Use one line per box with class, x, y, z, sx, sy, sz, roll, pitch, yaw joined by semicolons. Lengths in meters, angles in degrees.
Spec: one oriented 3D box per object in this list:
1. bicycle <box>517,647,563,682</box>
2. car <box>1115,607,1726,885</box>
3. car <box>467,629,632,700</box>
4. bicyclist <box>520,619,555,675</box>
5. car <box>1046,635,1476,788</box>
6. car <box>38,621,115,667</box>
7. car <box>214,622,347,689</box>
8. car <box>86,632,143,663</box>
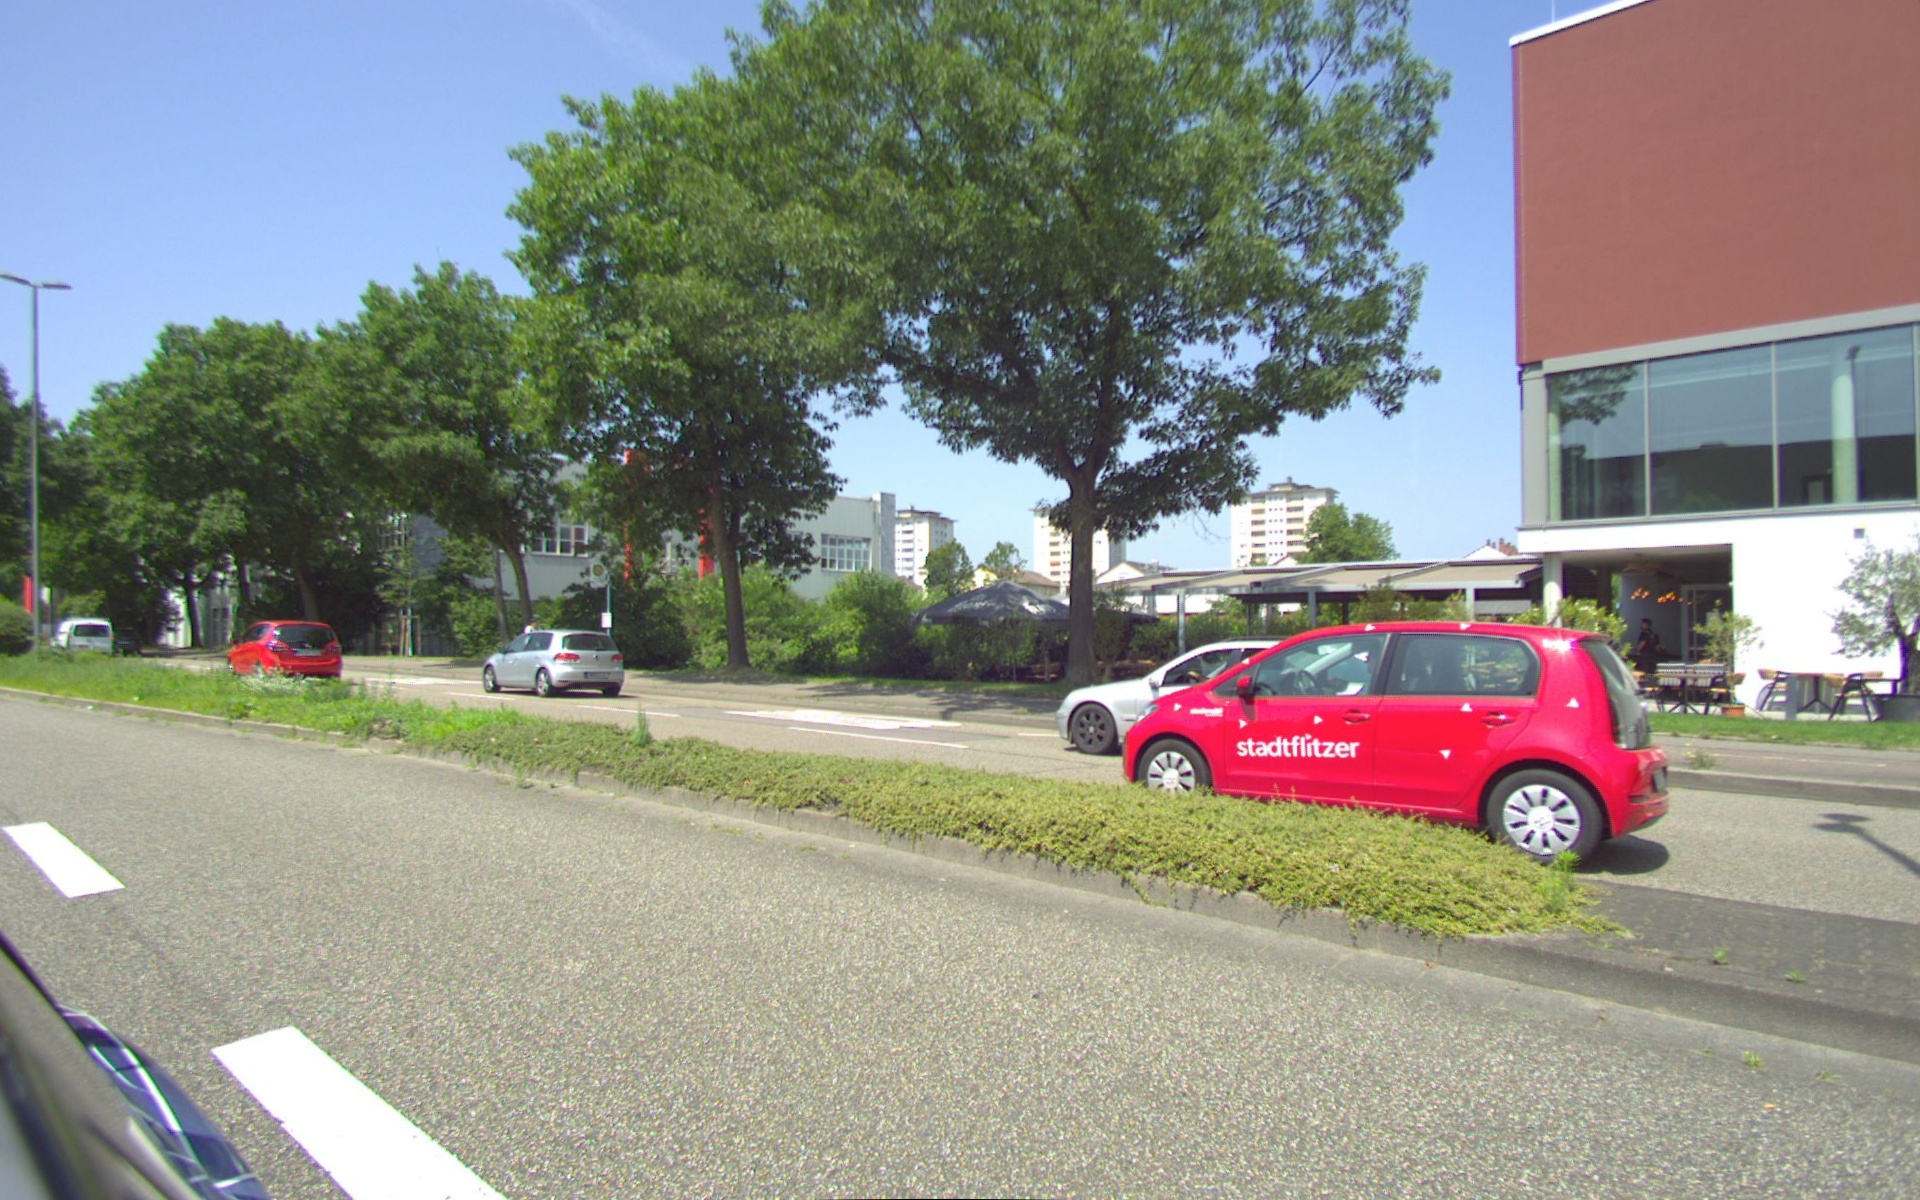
bicycle;-12.375;1.876;29.806;1.659;0.976;0.610;-1;-2;42
car;3.046;0.843;7.080;3.606;1.452;1.564;-2;-4;40
car;-9.285;1.413;22.731;4.131;1.462;1.730;-2;-5;41
bicyclist;-12.530;1.387;29.977;0.923;1.643;0.601;-2;-2;42
car;3.275;1.141;11.512;4.357;1.415;1.759;-2;-5;40
car;-38.846;1.935;44.482;4.423;1.920;1.833;-2;-5;41
car;-17.331;1.393;25.747;4.151;1.582;1.730;-2;-5;41
car;-46.883;2.640;56.100;4.211;1.616;1.698;-2;-5;41
